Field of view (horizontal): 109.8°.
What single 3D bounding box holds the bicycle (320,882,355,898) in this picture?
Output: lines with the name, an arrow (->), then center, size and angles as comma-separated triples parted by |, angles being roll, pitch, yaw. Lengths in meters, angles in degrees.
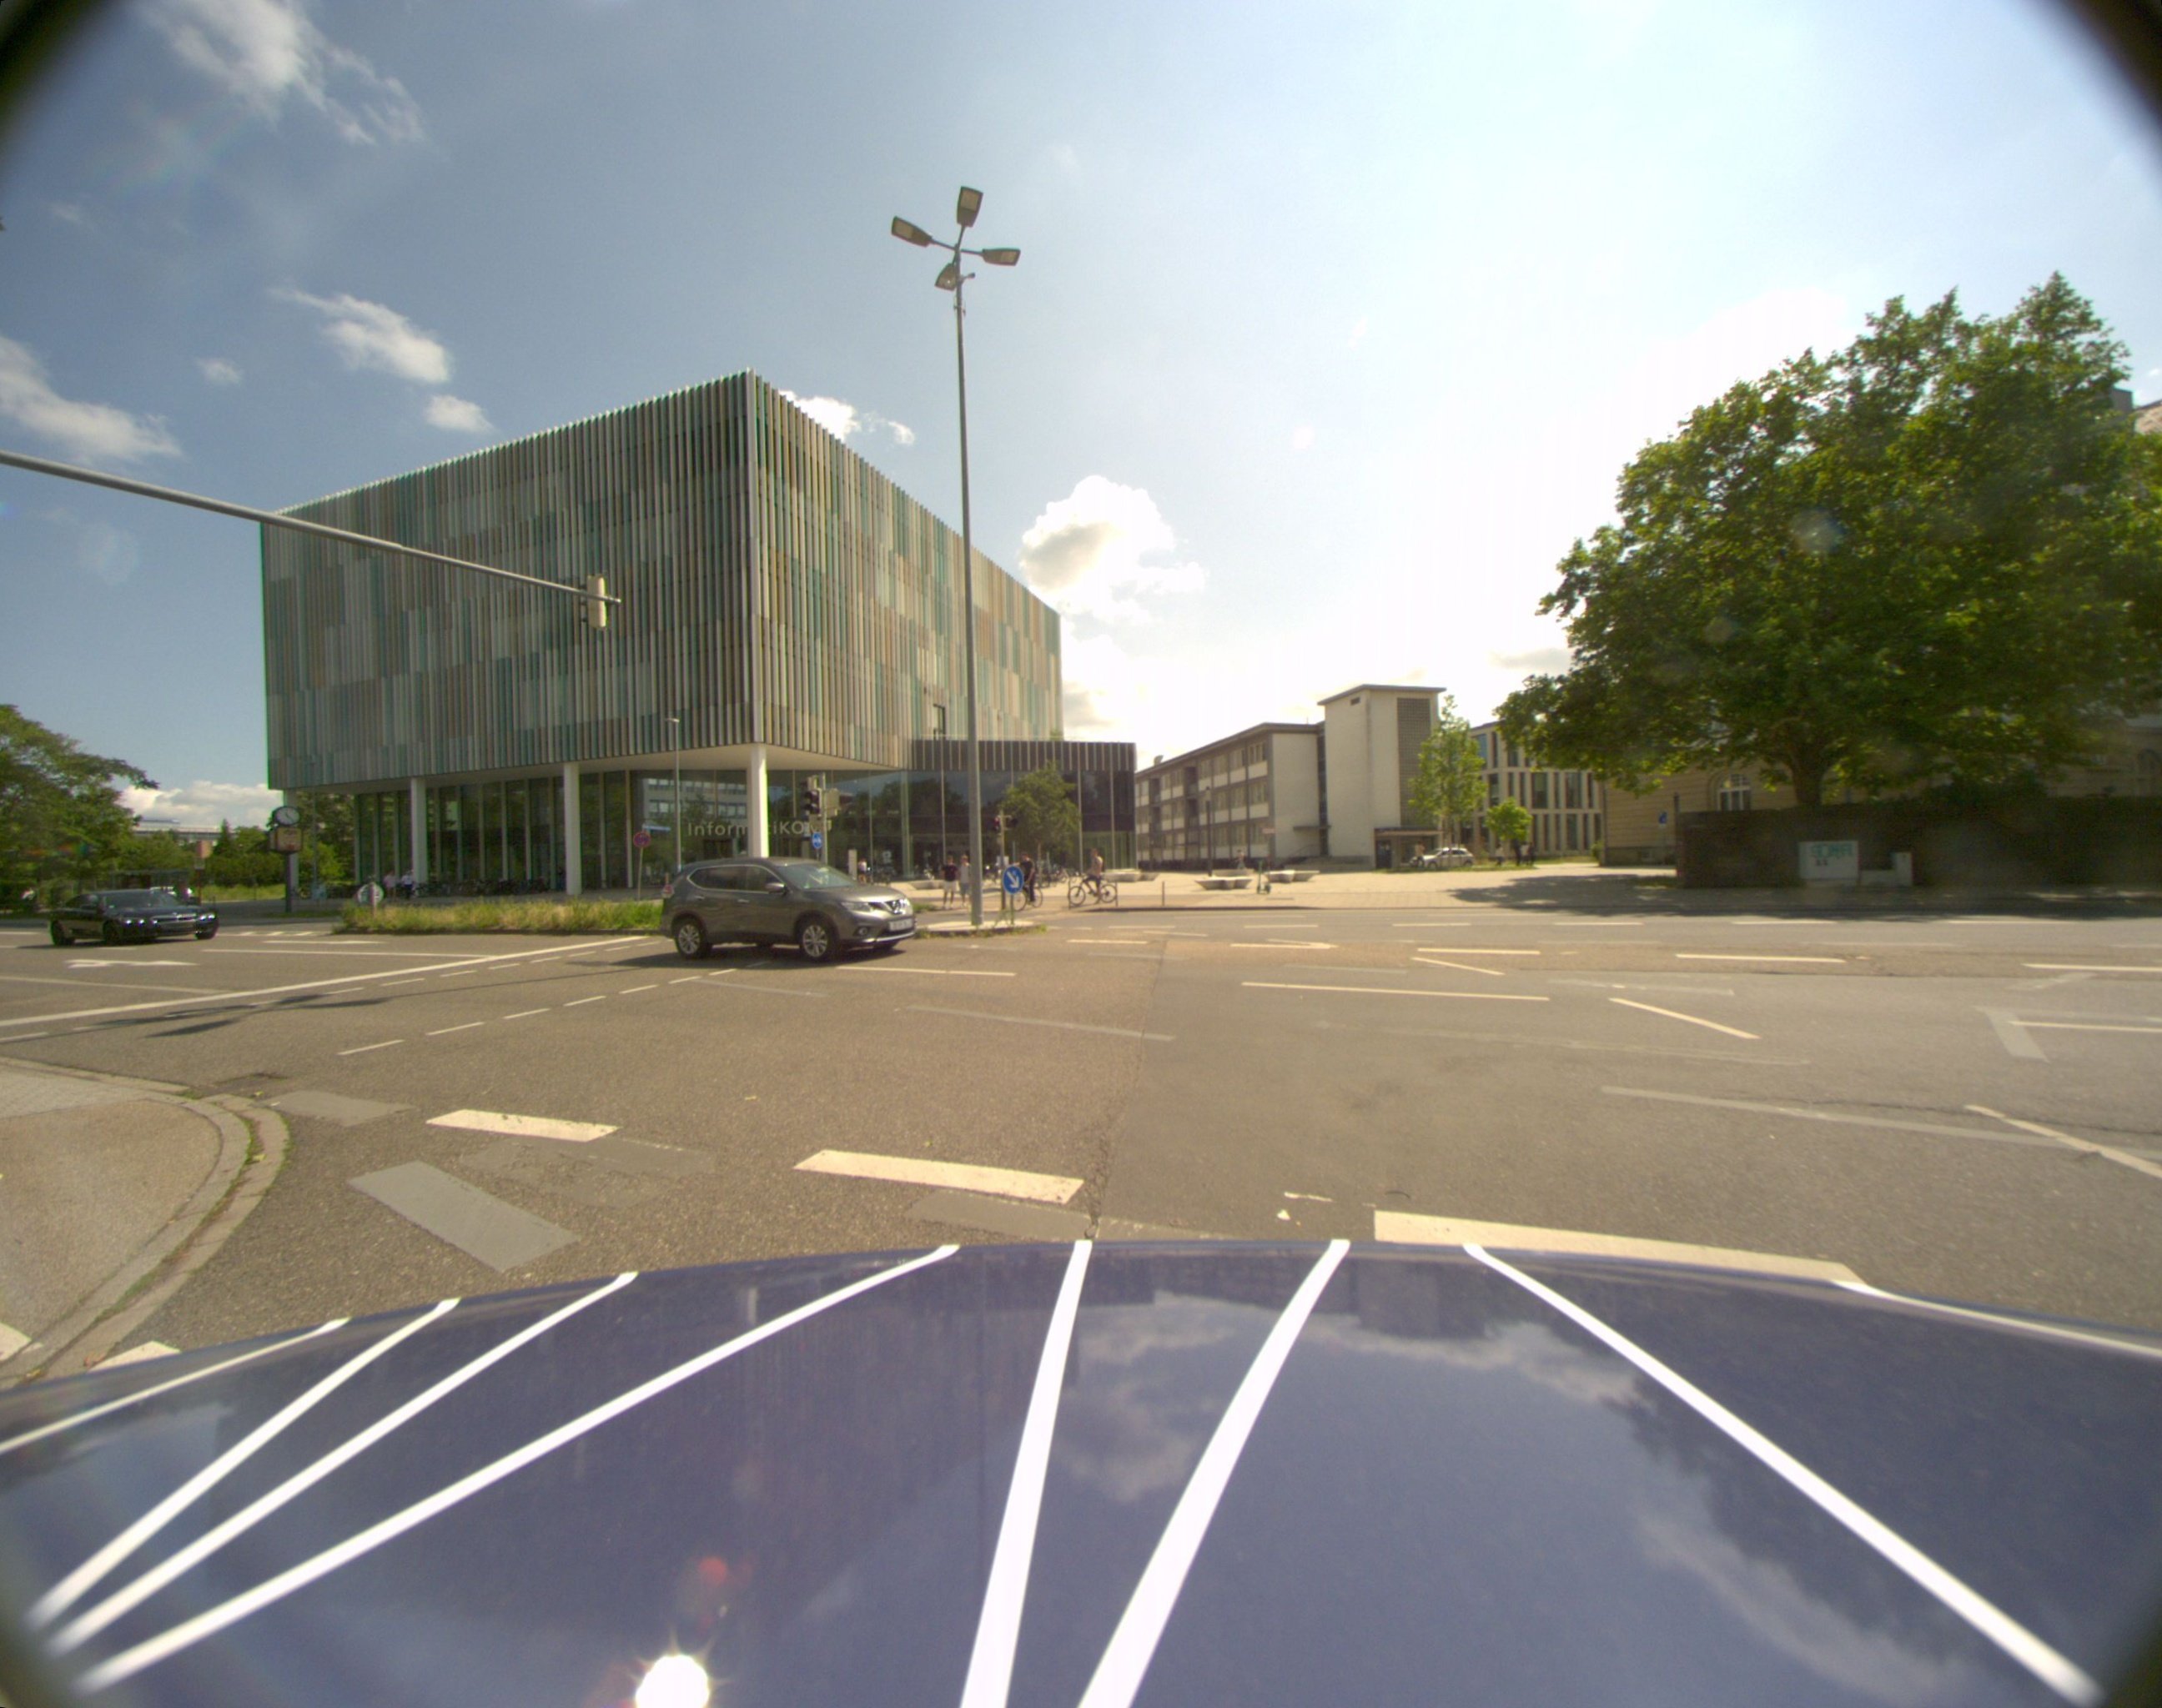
bicycle -> -53.355, 2.576, 54.541 | 0.432, 0.950, 1.787 | -1, 2, 20

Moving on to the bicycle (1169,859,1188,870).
bicycle -> 9.511, 1.010, 74.045 | 1.773, 0.950, 0.528 | -1, 2, -8

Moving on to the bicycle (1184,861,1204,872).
bicycle -> 10.406, 1.118, 70.133 | 1.773, 0.950, 0.528 | -1, 2, -8

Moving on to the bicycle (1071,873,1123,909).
bicycle -> 0.528, 1.246, 25.769 | 1.671, 1.118, 0.695 | -2, 0, -5

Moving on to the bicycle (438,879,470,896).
bicycle -> -41.296, 2.195, 50.036 | 0.372, 0.950, 1.549 | -1, 2, 35

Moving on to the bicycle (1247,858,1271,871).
bicycle -> 13.717, 0.810, 58.573 | 1.773, 0.950, 0.528 | -1, 2, -6

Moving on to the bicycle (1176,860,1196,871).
bicycle -> 10.017, 1.097, 72.286 | 1.773, 0.950, 0.528 | -1, 2, -8

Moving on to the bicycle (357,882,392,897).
bicycle -> -49.536, 2.478, 53.283 | 0.432, 0.950, 1.787 | -1, 2, 20

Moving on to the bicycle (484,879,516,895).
bicycle -> -37.167, 2.091, 48.586 | 0.372, 0.950, 1.549 | -1, 2, 35

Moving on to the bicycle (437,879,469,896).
bicycle -> -41.598, 2.213, 50.336 | 0.372, 0.950, 1.549 | -1, 2, 35

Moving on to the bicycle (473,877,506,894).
bicycle -> -37.785, 2.003, 48.541 | 0.372, 0.950, 1.549 | -1, 2, 35

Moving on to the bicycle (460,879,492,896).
bicycle -> -38.617, 2.123, 48.519 | 0.372, 0.950, 1.549 | -1, 2, 35

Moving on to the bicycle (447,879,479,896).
bicycle -> -40.254, 2.180, 49.494 | 0.372, 0.950, 1.549 | -1, 2, 35

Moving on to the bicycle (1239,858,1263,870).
bicycle -> 13.415, 0.784, 59.940 | 1.773, 0.950, 0.528 | -1, 2, -8

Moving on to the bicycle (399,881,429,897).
bicycle -> -43.900, 2.318, 50.035 | 0.373, 0.950, 1.547 | -2, 1, 9

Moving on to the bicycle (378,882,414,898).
bicycle -> -47.168, 2.453, 52.336 | 0.432, 0.950, 1.787 | -1, 2, 20

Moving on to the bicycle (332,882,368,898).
bicycle -> -51.765, 2.536, 53.828 | 0.432, 0.950, 1.787 | -1, 2, 20

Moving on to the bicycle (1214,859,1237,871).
bicycle -> 12.248, 0.949, 64.424 | 1.773, 0.950, 0.528 | -1, 2, -8

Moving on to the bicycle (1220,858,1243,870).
bicycle -> 12.554, 0.860, 63.363 | 1.773, 0.950, 0.528 | -1, 2, -8

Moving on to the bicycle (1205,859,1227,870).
bicycle -> 11.660, 0.893, 65.578 | 1.773, 0.950, 0.528 | -1, 2, -8

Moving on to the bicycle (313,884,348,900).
bicycle -> -54.093, 2.730, 54.781 | 0.432, 0.950, 1.787 | -1, 2, 20

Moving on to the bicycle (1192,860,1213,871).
bicycle -> 10.846, 1.058, 67.981 | 1.773, 0.950, 0.528 | -1, 2, -8

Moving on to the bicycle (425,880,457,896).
bicycle -> -42.751, 2.254, 50.735 | 0.372, 0.950, 1.549 | -1, 2, 35

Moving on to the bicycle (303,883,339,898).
bicycle -> -55.053, 2.652, 55.082 | 0.432, 0.950, 1.787 | -1, 2, 20

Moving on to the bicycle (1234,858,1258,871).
bicycle -> 13.193, 0.817, 60.815 | 1.773, 0.950, 0.528 | -1, 2, -8

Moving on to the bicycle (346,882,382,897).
bicycle -> -50.464, 2.509, 53.465 | 0.432, 0.950, 1.787 | -1, 2, 20

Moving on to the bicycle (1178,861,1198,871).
bicycle -> 10.126, 1.142, 71.639 | 1.773, 0.950, 0.528 | -1, 2, -8

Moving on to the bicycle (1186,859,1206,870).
bicycle -> 10.469, 0.944, 69.233 | 1.773, 0.950, 0.528 | -1, 2, -8

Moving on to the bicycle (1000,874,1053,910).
bicycle -> -1.816, 1.250, 25.287 | 1.671, 1.118, 0.695 | -2, 0, -8

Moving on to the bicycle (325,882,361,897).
bicycle -> -52.760, 2.552, 54.340 | 0.432, 0.950, 1.787 | -1, 2, 20

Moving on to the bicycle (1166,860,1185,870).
bicycle -> 9.310, 1.089, 74.930 | 1.773, 0.950, 0.528 | -1, 2, -8

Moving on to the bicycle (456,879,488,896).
bicycle -> -39.445, 2.156, 49.236 | 0.372, 0.950, 1.549 | -1, 2, 35

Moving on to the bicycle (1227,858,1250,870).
bicycle -> 12.897, 0.842, 62.083 | 1.773, 0.950, 0.528 | -1, 2, -8

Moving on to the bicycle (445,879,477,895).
bicycle -> -40.685, 2.149, 49.844 | 0.372, 0.950, 1.549 | -1, 2, 35

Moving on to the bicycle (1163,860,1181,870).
bicycle -> 9.102, 1.126, 75.930 | 1.773, 0.950, 0.528 | -1, 2, -8
